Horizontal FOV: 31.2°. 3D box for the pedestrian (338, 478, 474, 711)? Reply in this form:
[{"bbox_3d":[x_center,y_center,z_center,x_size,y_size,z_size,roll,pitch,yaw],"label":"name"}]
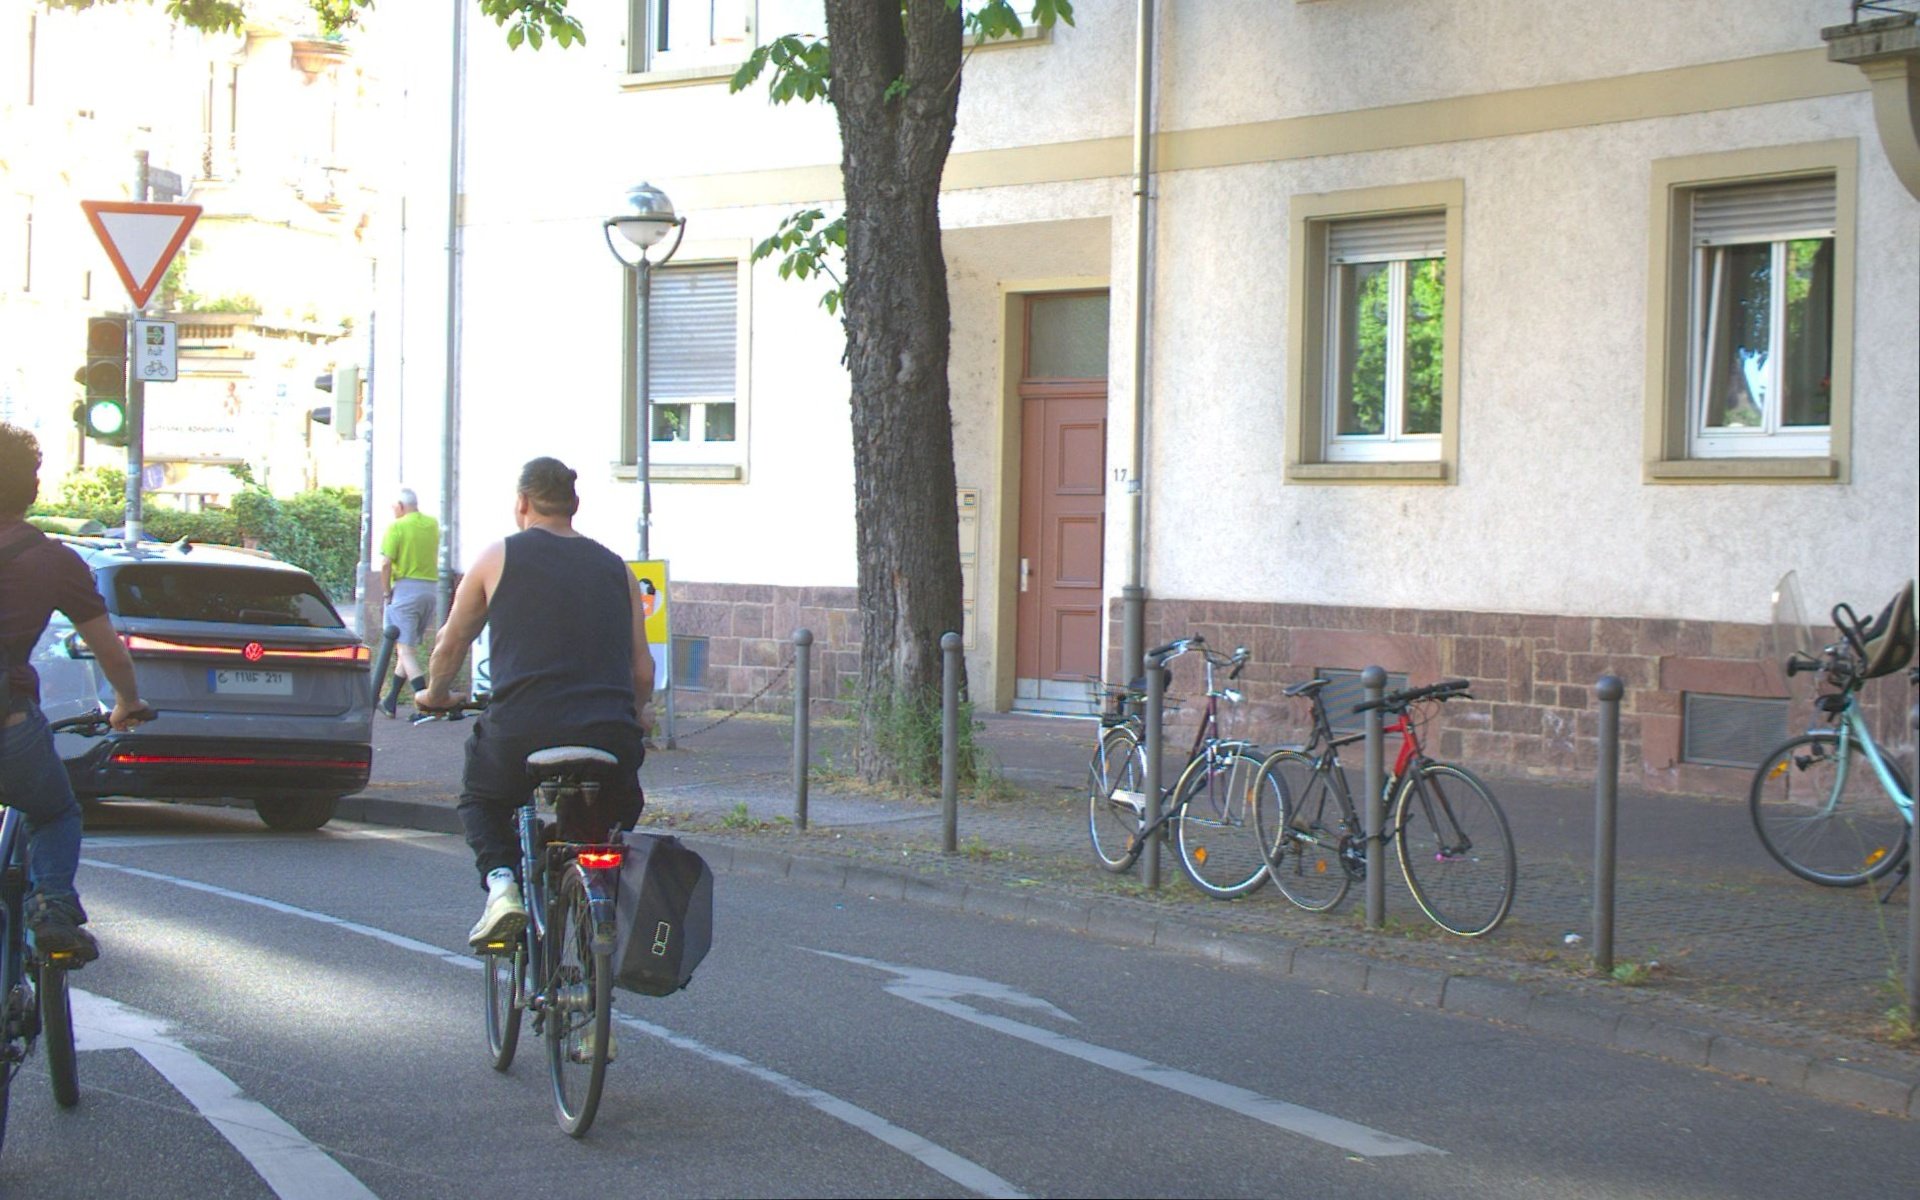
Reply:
[{"bbox_3d":[-4.195,-0.060,26.026,0.643,1.721,0.888,-2,3,-37],"label":"pedestrian"}]

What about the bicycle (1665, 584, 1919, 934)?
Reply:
[{"bbox_3d":[3.664,0.594,13.835,0.717,1.273,1.967,0,2,-19],"label":"bicycle"}]

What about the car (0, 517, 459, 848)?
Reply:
[{"bbox_3d":[-4.789,0.371,18.961,1.970,1.580,4.474,3,0,-38],"label":"car"}]

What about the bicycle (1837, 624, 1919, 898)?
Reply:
[{"bbox_3d":[4.376,0.688,13.832,0.667,1.103,1.967,2,1,-18],"label":"bicycle"}]

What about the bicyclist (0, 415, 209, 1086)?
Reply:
[{"bbox_3d":[-2.346,0.340,8.556,0.706,1.568,0.957,2,1,0],"label":"bicyclist"}]

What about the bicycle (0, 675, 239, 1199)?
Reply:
[{"bbox_3d":[-2.363,0.785,8.549,0.717,1.103,1.967,2,1,-1],"label":"bicycle"}]

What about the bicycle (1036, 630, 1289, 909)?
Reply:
[{"bbox_3d":[0.862,0.707,15.034,0.480,1.060,1.636,-2,3,-20],"label":"bicycle"}]

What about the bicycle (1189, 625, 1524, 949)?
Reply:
[{"bbox_3d":[1.524,0.693,13.510,0.526,1.103,1.741,-2,3,-22],"label":"bicycle"}]

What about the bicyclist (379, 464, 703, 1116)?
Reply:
[{"bbox_3d":[-1.148,0.470,9.274,0.686,1.650,0.990,0,1,-18],"label":"bicyclist"}]
